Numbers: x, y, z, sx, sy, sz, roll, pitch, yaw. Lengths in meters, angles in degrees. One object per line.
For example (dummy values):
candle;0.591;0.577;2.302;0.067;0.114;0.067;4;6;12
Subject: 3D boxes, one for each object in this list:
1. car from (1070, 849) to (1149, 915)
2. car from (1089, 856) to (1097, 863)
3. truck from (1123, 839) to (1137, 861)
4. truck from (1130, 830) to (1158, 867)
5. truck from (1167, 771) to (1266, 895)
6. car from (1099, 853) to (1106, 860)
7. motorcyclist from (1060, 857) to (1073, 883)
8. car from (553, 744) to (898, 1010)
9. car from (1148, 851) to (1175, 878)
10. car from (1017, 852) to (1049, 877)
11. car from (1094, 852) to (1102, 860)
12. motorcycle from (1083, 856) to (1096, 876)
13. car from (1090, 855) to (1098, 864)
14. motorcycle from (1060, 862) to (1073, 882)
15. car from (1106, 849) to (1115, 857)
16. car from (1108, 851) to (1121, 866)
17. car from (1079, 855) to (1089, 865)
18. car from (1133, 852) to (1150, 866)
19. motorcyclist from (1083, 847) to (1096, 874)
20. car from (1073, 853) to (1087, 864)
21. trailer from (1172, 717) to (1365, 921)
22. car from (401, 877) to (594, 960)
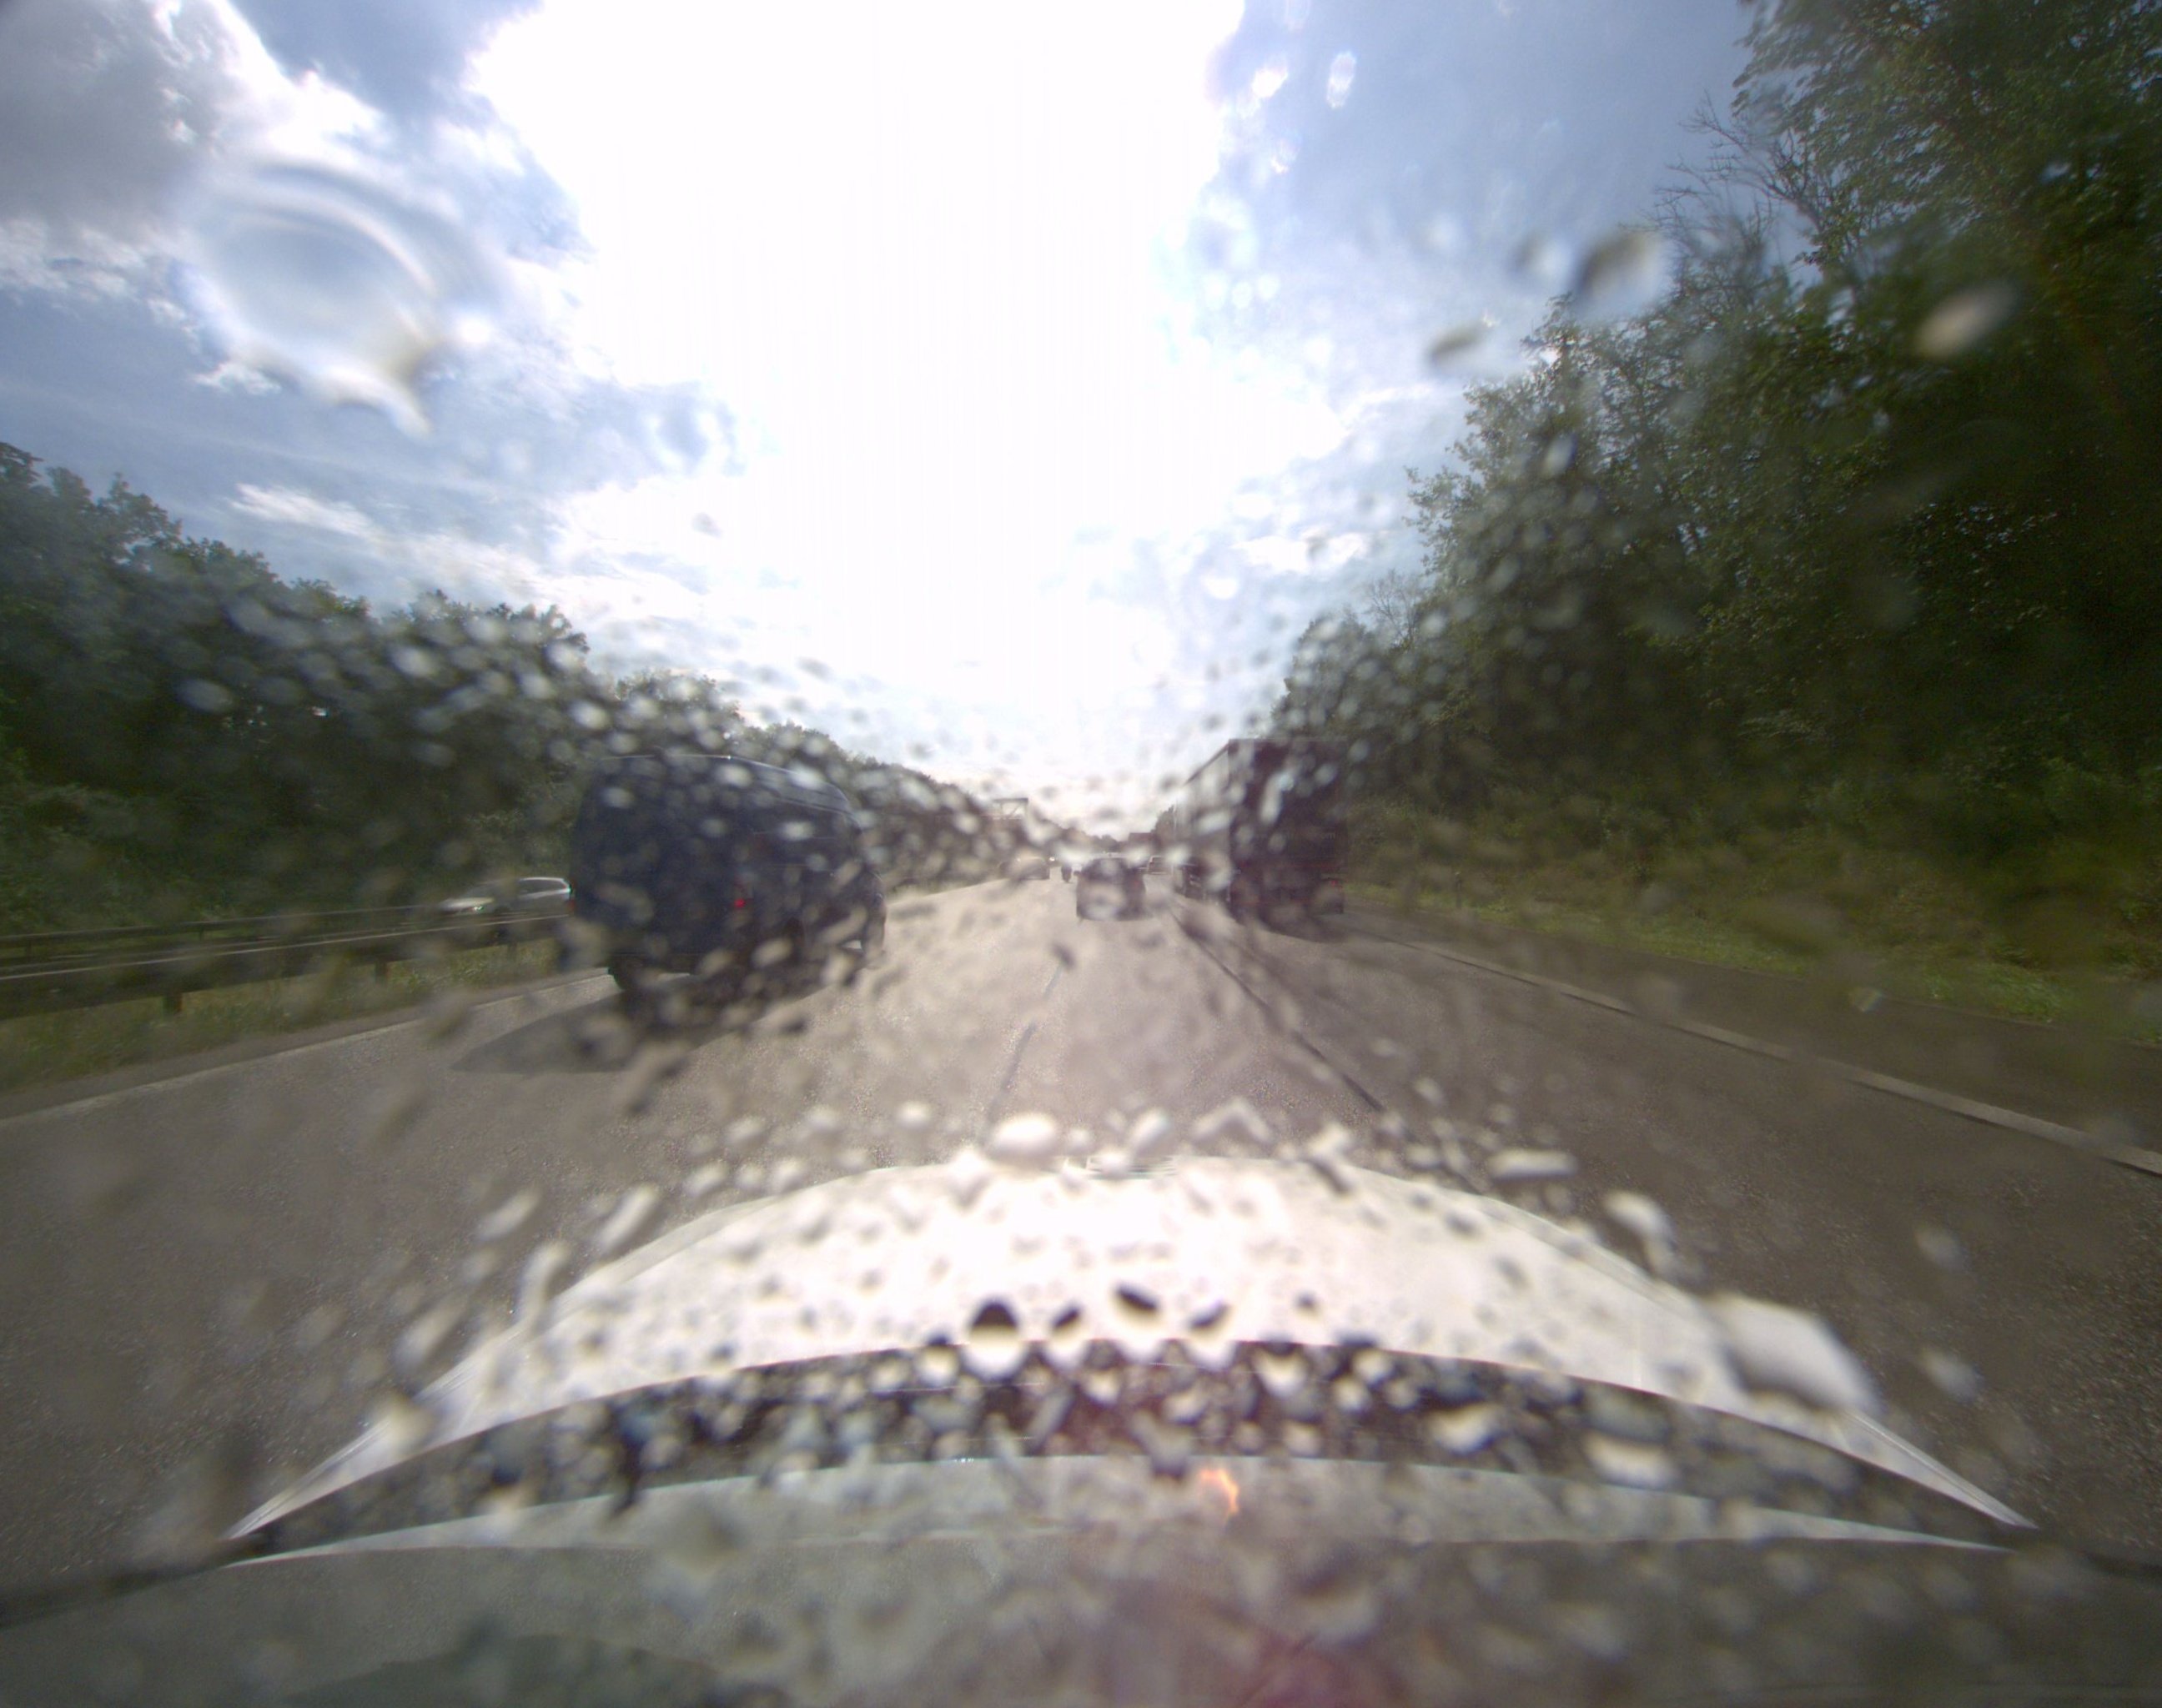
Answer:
car;0.744;0.687;21.874;1.908;1.565;4.315;-1;0;1
car;2.487;1.204;171.208;1.669;1.490;3.437;-1;0;1
truck;10.915;-0.849;182.036;2.871;4.687;12.663;-1;0;2
truck;7.848;-0.633;102.496;3.190;4.404;9.437;-1;0;2
truck;5.103;-0.721;31.657;3.040;4.325;5.889;-1;-1;2
car;6.316;0.798;234.512;1.986;2.014;4.001;-1;0;1
motorcyclist;-0.824;0.881;45.916;0.668;1.442;1.019;0;-1;-2
car;-4.233;0.235;11.088;2.008;2.648;5.778;-1;0;1
car;6.203;0.776;63.272;1.842;2.014;4.089;-1;0;2
car;-3.137;0.678;53.678;1.752;1.595;4.332;-1;0;1
car;4.431;0.501;210.754;1.986;2.014;4.001;-1;0;1
motorcycle;0.562;0.794;54.600;0.817;1.263;2.116;0;0;-1
car;3.083;1.307;194.824;1.986;2.014;4.001;-1;0;1
motorcycle;-0.823;1.012;45.936;0.674;1.087;1.981;0;0;-1
car;5.928;-0.231;164.299;1.626;1.490;3.437;-1;0;1
car;4.358;0.533;106.813;1.669;1.936;3.774;-1;0;1
car;0.546;1.074;145.068;1.669;1.597;3.437;-1;0;1
car;6.272;0.515;84.719;1.669;1.490;3.437;-1;0;1
motorcyclist;0.551;0.438;54.527;0.819;1.761;1.389;0;-1;-1
car;-0.163;0.624;114.962;1.886;1.628;4.196;-1;0;1
trailer;4.799;-0.742;24.456;3.076;4.312;14.113;-1;0;2
car;-16.580;1.738;23.519;1.986;2.014;4.808;-1;0;2
